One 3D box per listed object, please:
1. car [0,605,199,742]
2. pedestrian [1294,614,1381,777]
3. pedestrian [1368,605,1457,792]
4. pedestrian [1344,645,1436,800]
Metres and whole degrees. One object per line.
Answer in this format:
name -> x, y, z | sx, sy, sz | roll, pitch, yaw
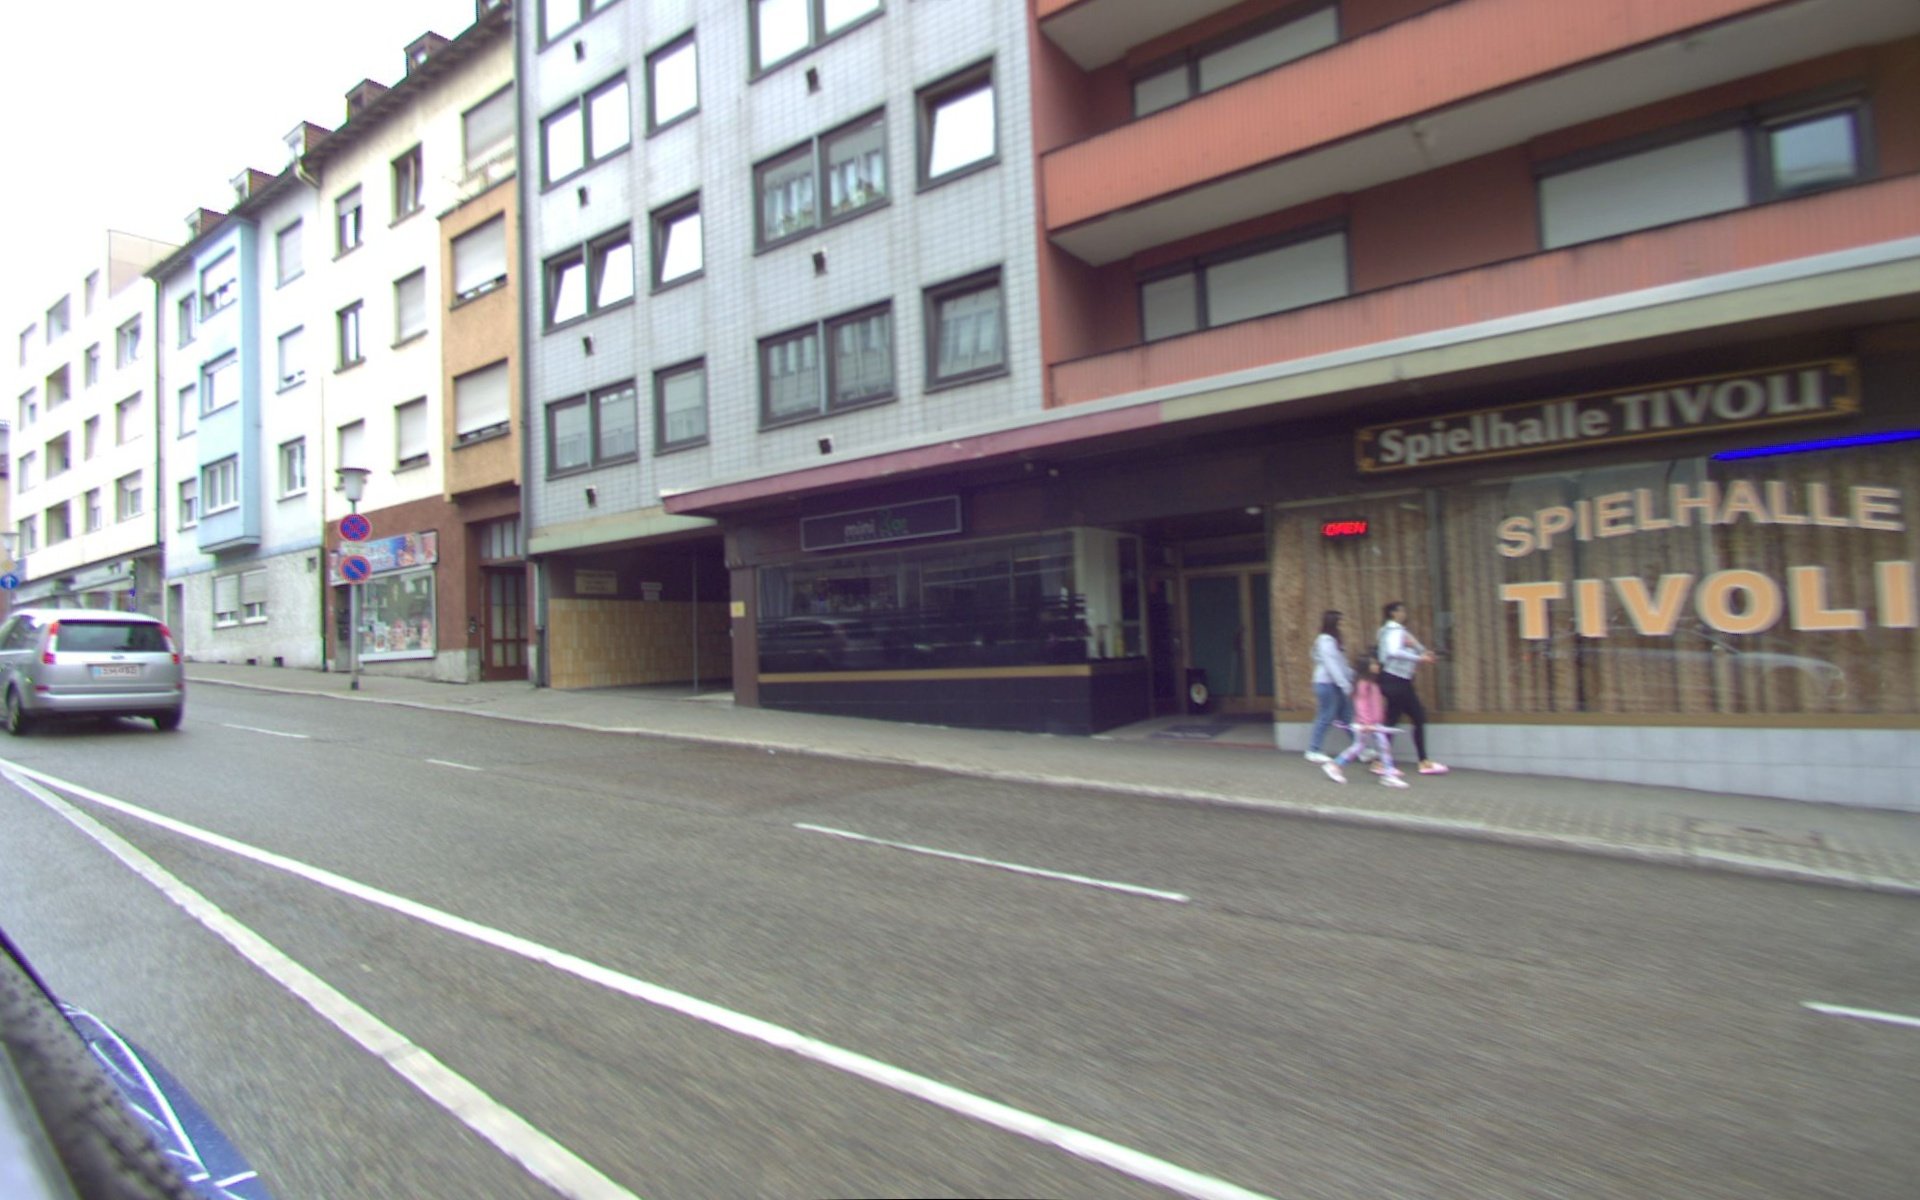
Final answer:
car -> -12.223, 0.924, 13.795 | 4.167, 1.605, 1.720 | 0, -4, 36
pedestrian -> 3.907, 0.945, 10.456 | 0.720, 1.572, 0.822 | -1, 0, 27
pedestrian -> 4.405, 0.911, 9.841 | 0.720, 1.702, 0.822 | -1, 0, 27
pedestrian -> 3.961, 1.099, 9.306 | 0.720, 1.333, 0.530 | -1, 0, 28
